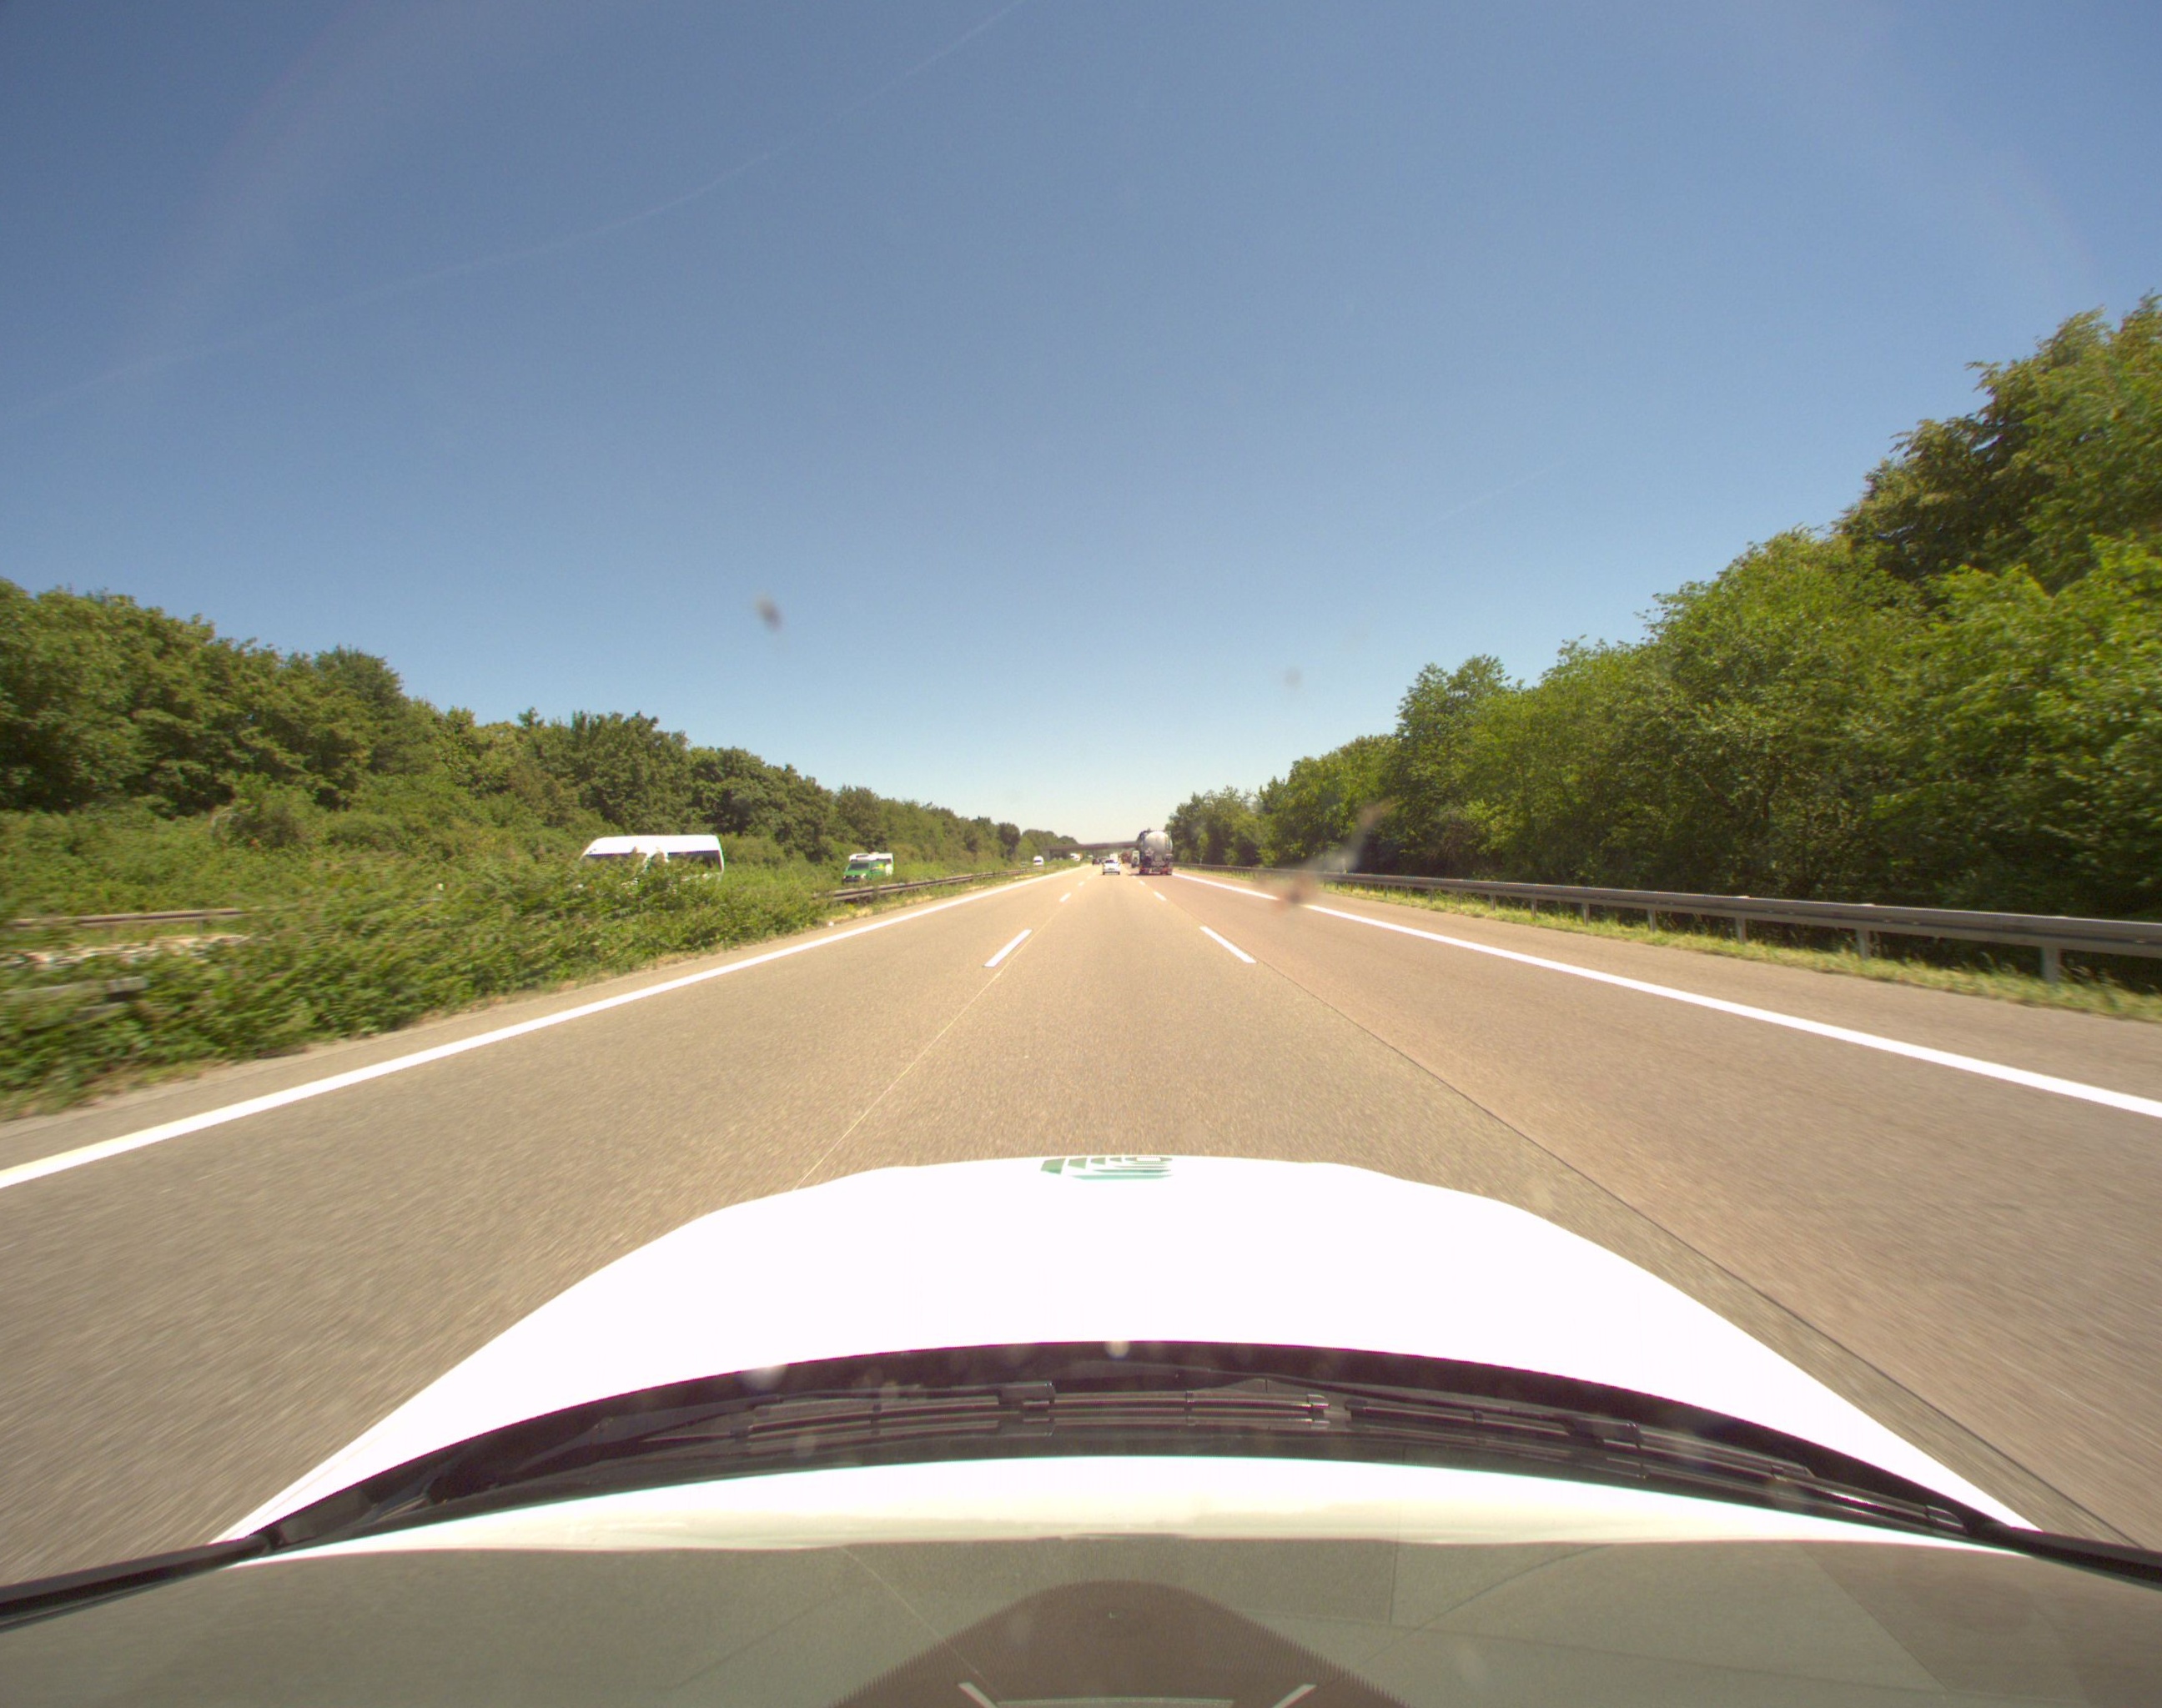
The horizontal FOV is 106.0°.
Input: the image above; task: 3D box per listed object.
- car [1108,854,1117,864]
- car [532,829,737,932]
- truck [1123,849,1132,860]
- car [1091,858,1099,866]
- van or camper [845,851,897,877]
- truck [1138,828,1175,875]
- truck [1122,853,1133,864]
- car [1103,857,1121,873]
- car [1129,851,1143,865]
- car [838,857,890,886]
[{"bbox_3d":[7.471,1.118,192.185,1.985,2.343,4.390,-1,0,3],"label":"car"},{"bbox_3d":[-11.939,0.641,22.456,1.986,2.400,6.169,-2,0,2],"label":"car"},{"bbox_3d":[13.652,0.221,238.402,2.281,3.240,6.346,-1,-1,2],"label":"truck"},{"bbox_3d":[3.372,1.921,197.553,1.986,1.725,4.788,-1,0,2],"label":"car"},{"bbox_3d":[-17.979,0.825,70.107,2.488,2.013,6.368,-1,0,3],"label":"van or camper"},{"bbox_3d":[6.866,-0.208,75.509,2.729,4.052,10.459,-1,0,2],"label":"truck"},{"bbox_3d":[12.975,1.265,227.548,2.904,3.240,6.346,-1,-1,2],"label":"truck"},{"bbox_3d":[3.012,1.068,78.748,1.621,1.479,4.002,-1,0,2],"label":"car"},{"bbox_3d":[8.582,0.627,127.515,1.986,2.225,4.788,-1,0,2],"label":"car"},{"bbox_3d":[-15.204,1.178,57.352,1.986,1.878,5.460,-2,0,1],"label":"car"}]
